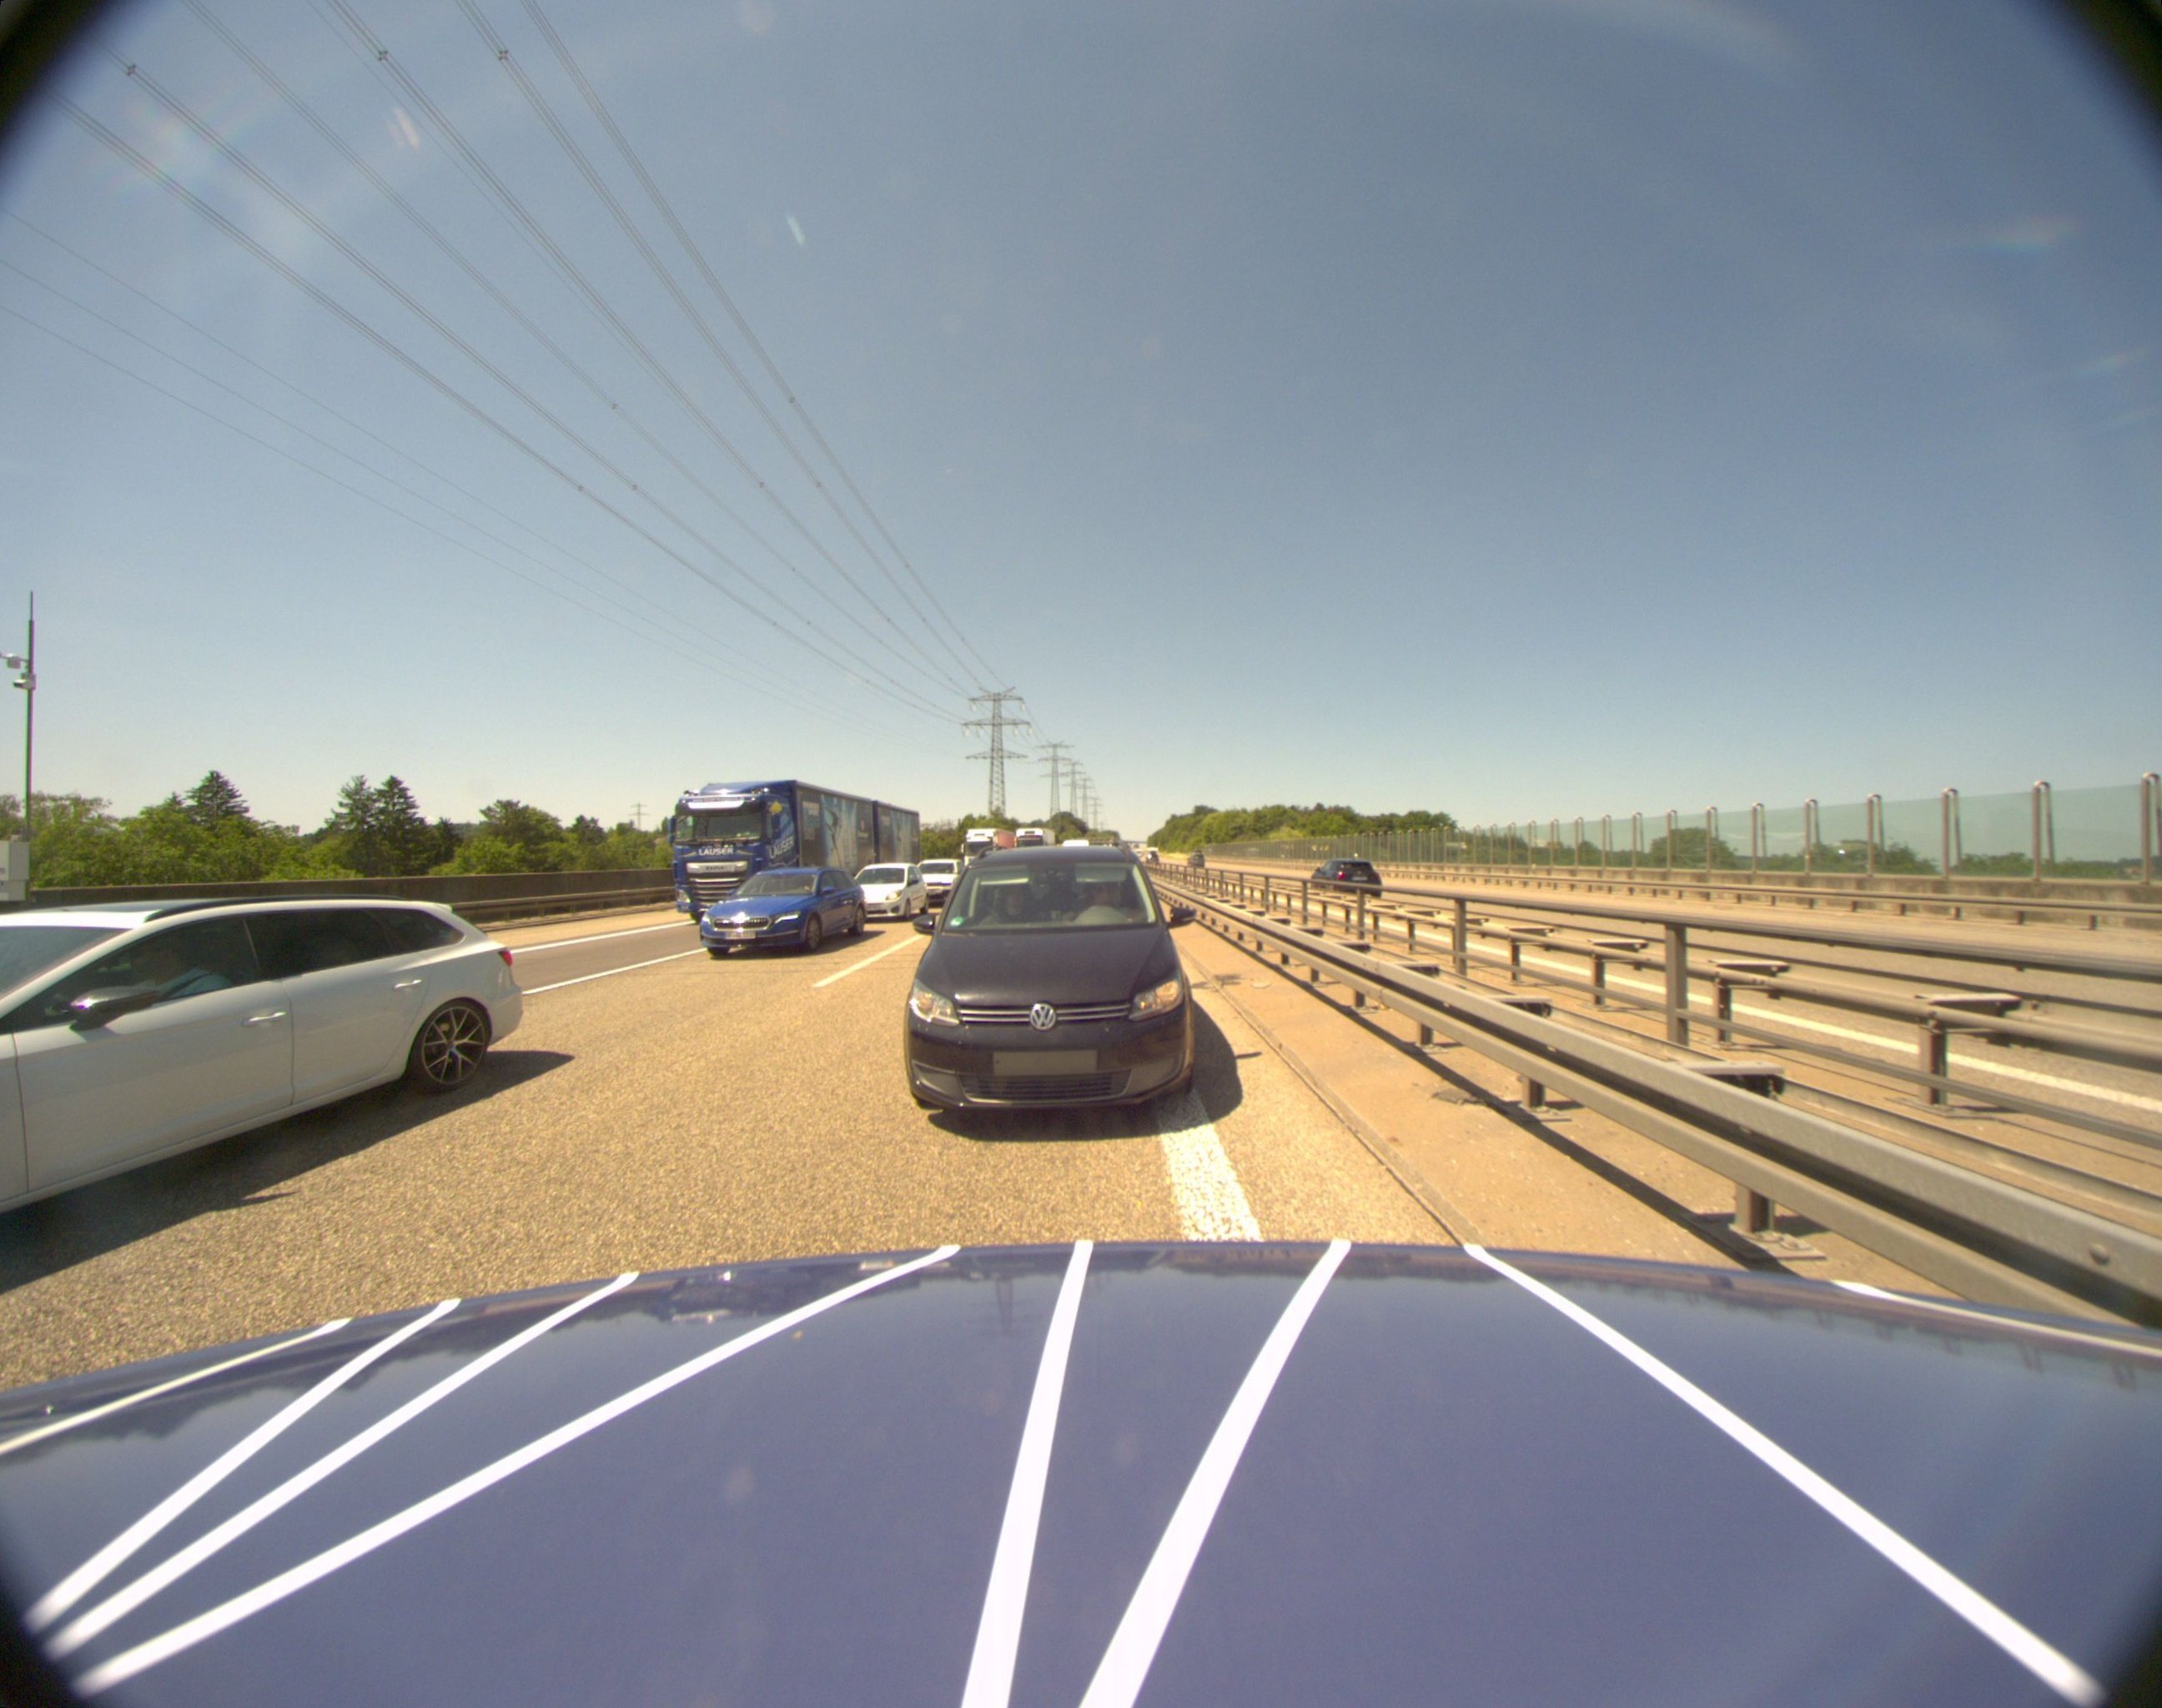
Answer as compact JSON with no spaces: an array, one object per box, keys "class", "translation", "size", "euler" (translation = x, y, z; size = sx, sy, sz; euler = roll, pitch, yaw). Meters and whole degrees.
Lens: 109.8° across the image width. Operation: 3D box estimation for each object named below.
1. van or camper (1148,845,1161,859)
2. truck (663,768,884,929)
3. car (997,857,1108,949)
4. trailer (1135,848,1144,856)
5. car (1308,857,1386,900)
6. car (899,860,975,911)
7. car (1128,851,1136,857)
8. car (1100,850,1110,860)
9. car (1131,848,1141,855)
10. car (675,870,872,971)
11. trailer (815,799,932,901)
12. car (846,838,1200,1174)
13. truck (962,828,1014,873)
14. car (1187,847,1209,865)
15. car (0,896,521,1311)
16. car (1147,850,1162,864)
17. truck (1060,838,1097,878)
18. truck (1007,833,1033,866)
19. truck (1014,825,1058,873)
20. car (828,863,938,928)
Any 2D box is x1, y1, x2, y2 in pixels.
[{"class":"van or camper","translation":[16.959,-0.461,174.933],"size":[2.428,3.006,7.026],"euler":[1,0,1]},{"class":"truck","translation":[-9.216,-0.176,24.629],"size":[2.529,4.043,10.447],"euler":[-2,1,2]},{"class":"car","translation":[-0.459,0.850,15.133],"size":[1.845,1.495,4.377],"euler":[-1,0,1]},{"class":"trailer","translation":[18.930,-0.593,247.126],"size":[2.499,2.534,6.774],"euler":[1,0,1]},{"class":"car","translation":[9.744,0.854,28.118],"size":[1.623,1.455,3.702],"euler":[1,0,1]},{"class":"car","translation":[-4.739,0.985,25.614],"size":[1.763,1.495,4.094],"euler":[-1,0,0]},{"class":"car","translation":[13.945,-0.028,207.314],"size":[1.872,1.523,4.424],"euler":[2,0,1]},{"class":"car","translation":[4.888,0.113,155.372],"size":[1.805,2.002,4.000],"euler":[-1,0,1]},{"class":"car","translation":[12.636,-0.547,173.885],"size":[1.872,1.690,4.430],"euler":[1,1,0]},{"class":"car","translation":[-5.384,1.084,13.959],"size":[1.739,1.437,4.211],"euler":[-1,0,2]},{"class":"trailer","translation":[-8.989,-0.204,34.124],"size":[2.572,3.922,8.479],"euler":[-2,1,2]},{"class":"car","translation":[-0.279,0.761,5.867],"size":[1.740,1.652,3.999],"euler":[-2,1,0]},{"class":"truck","translation":[-8.068,-0.339,67.263],"size":[2.985,3.538,10.967],"euler":[-2,1,1]},{"class":"car","translation":[14.320,0.239,93.206],"size":[1.998,2.203,4.268],"euler":[1,0,0]},{"class":"car","translation":[-5.265,1.112,3.830],"size":[1.843,1.481,4.071],"euler":[-2,0,-1]},{"class":"car","translation":[11.155,0.448,115.284],"size":[1.868,2.118,4.268],"euler":[1,0,1]},{"class":"truck","translation":[-0.105,0.220,52.043],"size":[2.284,2.479,5.861],"euler":[-2,0,1]},{"class":"truck","translation":[-7.860,-0.557,98.825],"size":[2.346,4.058,8.278],"euler":[-2,1,1]},{"class":"truck","translation":[-3.867,-0.452,67.896],"size":[2.980,3.832,10.561],"euler":[-2,1,1]},{"class":"car","translation":[-5.178,1.032,20.434],"size":[1.762,1.495,4.095],"euler":[-1,0,2]}]
